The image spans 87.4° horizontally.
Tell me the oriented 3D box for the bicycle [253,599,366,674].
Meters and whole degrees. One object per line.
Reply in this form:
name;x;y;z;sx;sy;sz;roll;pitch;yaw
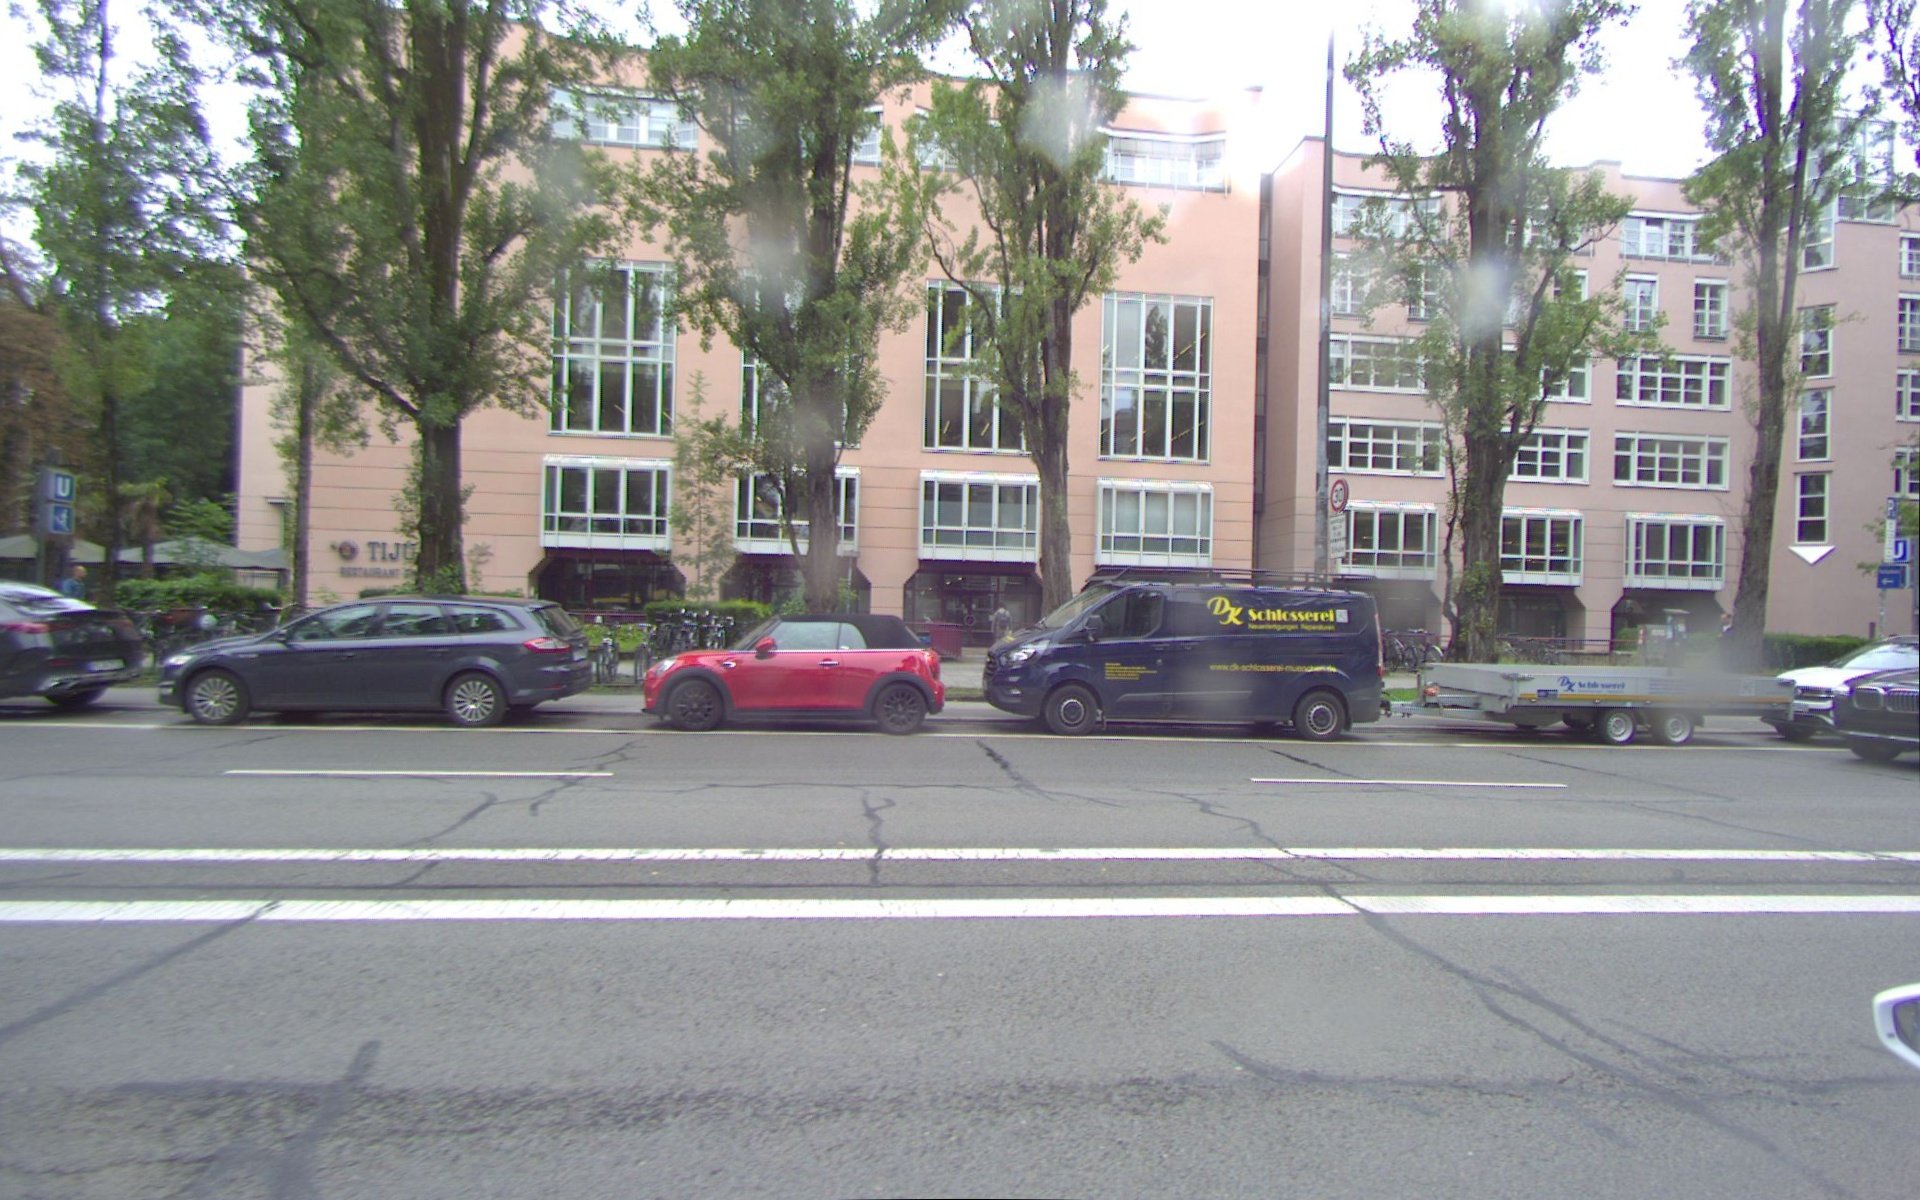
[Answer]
bicycle;-10.538;0.570;16.358;0.663;1.139;1.987;1;-1;-5

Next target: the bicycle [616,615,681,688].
bicycle;-5.205;0.835;16.870;0.663;1.139;1.740;1;-1;-5

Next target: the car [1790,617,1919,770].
car;12.648;1.093;11.742;4.465;1.664;1.999;1;-2;-6

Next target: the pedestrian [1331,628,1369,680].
pedestrian;9.456;1.306;24.370;0.697;1.203;0.730;1;-1;33

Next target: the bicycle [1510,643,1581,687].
bicycle;16.453;1.805;28.280;0.663;1.139;1.987;1;-1;-5

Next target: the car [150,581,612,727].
car;-6.881;0.648;12.394;4.537;1.549;1.792;2;-1;-6

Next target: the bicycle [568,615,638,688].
bicycle;-5.943;0.825;16.809;0.663;1.139;1.740;1;-1;-5

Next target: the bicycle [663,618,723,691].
bicycle;-4.479;0.882;16.937;0.663;1.139;1.728;1;-1;-5

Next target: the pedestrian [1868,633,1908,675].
pedestrian;38.441;2.245;41.624;0.880;1.684;0.816;2;-1;-5

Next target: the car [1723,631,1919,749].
car;13.721;1.274;14.511;4.153;1.562;1.806;1;-2;-4

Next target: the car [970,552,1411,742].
car;2.944;0.626;13.506;5.394;2.226;2.022;2;-1;-6

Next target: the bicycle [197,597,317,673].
bicycle;-11.342;0.547;16.287;0.663;1.139;1.987;1;-1;-5

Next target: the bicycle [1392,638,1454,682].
bicycle;12.928;1.656;28.107;0.663;1.139;1.987;1;-1;-5

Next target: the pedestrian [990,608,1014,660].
pedestrian;1.446;1.168;34.521;0.695;1.736;0.731;2;-1;-3

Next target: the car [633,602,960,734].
car;-1.963;0.827;12.744;3.799;1.468;1.677;2;-1;-4

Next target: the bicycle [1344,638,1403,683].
bicycle;11.488;1.662;27.962;0.663;1.139;1.987;1;-1;-5

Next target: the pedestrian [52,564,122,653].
pedestrian;-17.470;0.169;20.122;0.718;1.736;0.709;2;-1;-5

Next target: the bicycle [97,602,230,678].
bicycle;-12.715;0.612;16.111;0.663;1.139;1.987;1;-1;-5

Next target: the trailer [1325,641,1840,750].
trailer;8.536;1.293;14.148;5.924;1.215;2.403;2;-1;-5

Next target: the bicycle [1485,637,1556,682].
bicycle;15.710;1.656;28.230;0.663;1.139;2.105;1;-1;-5

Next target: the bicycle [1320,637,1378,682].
bicycle;10.776;1.640;27.886;0.663;1.139;1.987;1;-1;-5

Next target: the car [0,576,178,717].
car;-12.251;0.471;11.848;4.430;1.549;1.792;2;-1;-6

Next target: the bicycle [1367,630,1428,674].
bicycle;12.199;1.427;28.059;0.663;1.139;1.987;1;-1;-5

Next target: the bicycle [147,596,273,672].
bicycle;-12.034;0.526;16.209;0.663;1.139;1.987;1;-1;-5

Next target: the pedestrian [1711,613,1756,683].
pedestrian;18.323;1.126;23.807;0.645;1.626;0.559;1;-1;14
